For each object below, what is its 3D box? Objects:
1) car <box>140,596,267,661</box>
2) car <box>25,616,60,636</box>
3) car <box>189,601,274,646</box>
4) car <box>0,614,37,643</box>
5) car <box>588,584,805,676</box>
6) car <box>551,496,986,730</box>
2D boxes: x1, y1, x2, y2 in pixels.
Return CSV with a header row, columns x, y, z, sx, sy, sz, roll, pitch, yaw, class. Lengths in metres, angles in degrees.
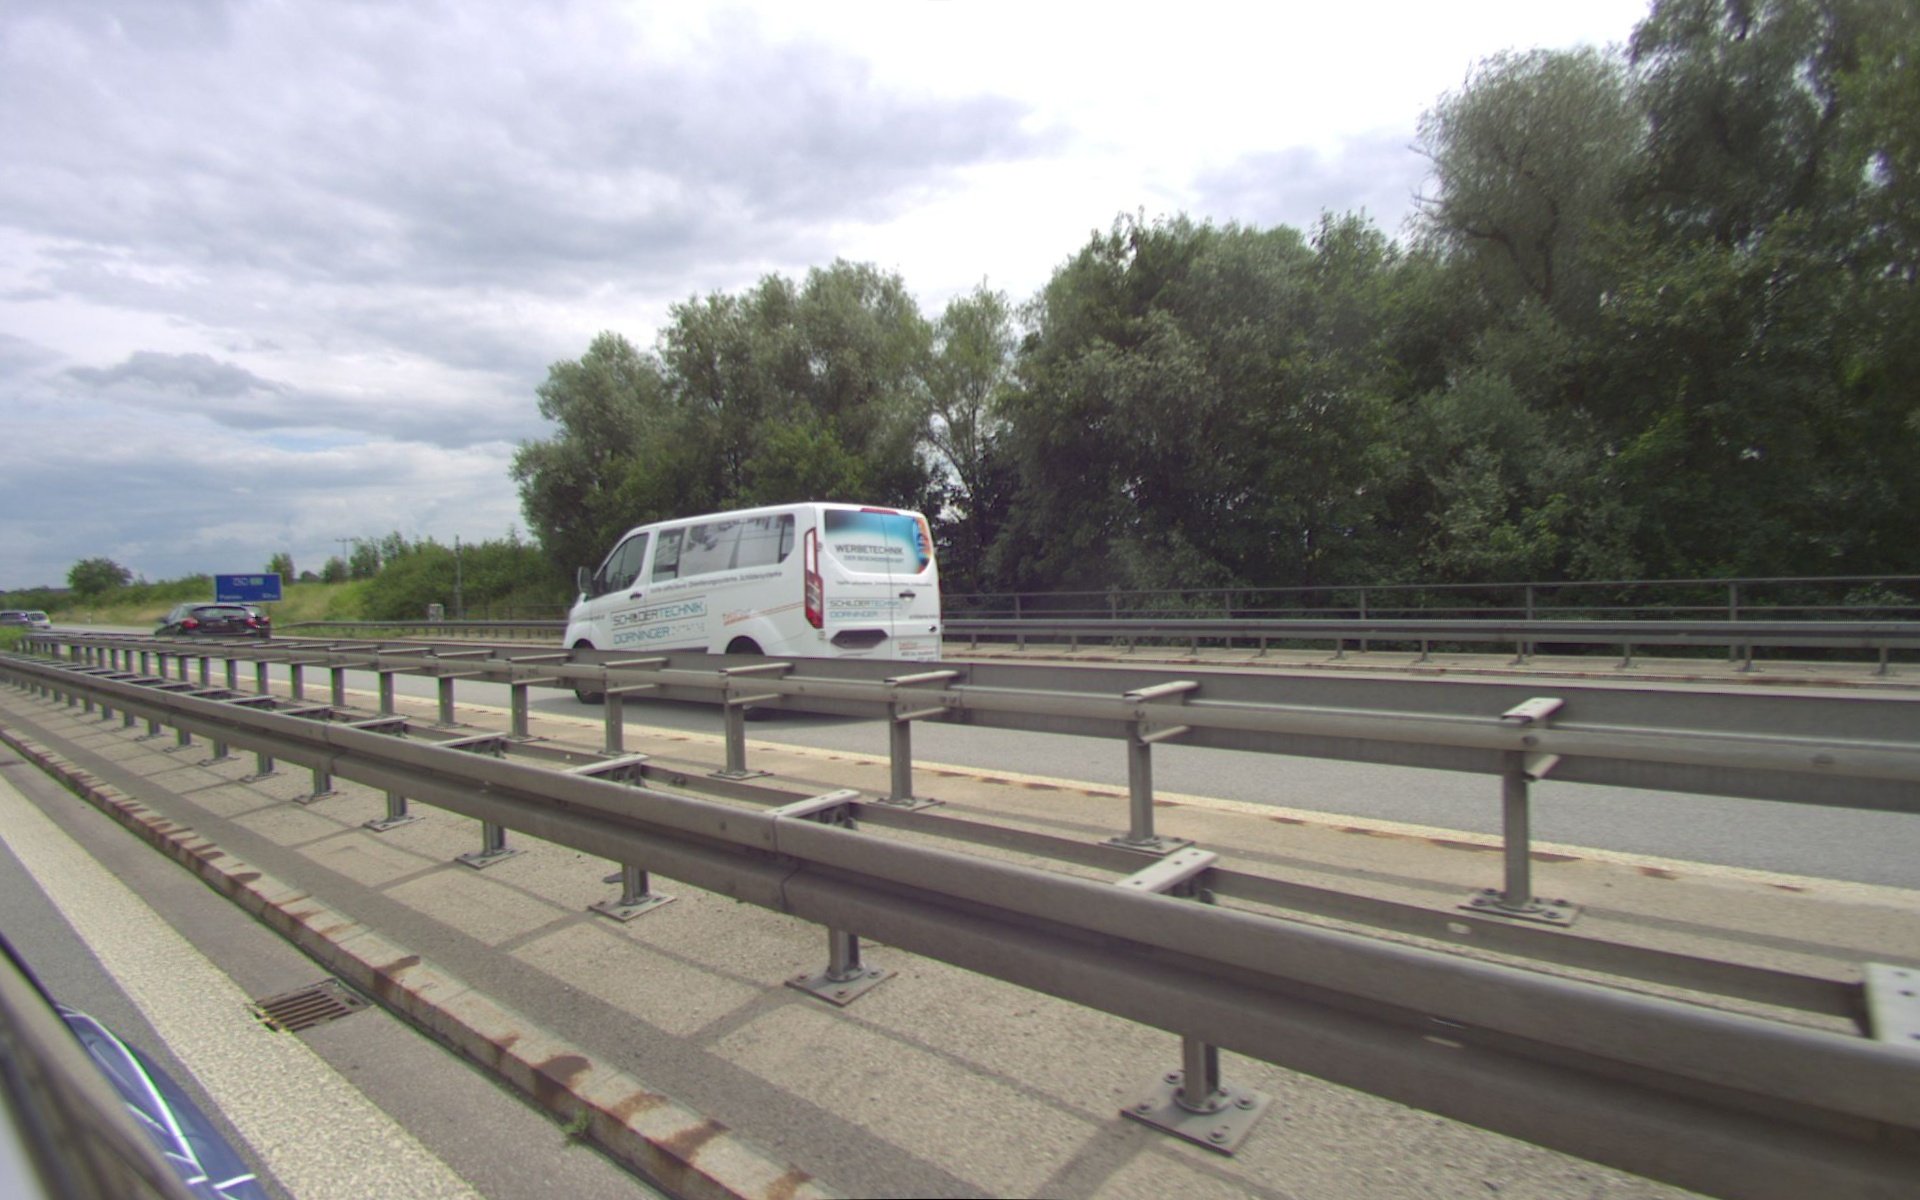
x,y,z,sx,sy,sz,roll,pitch,yaw,class
-21.043,0.767,28.072,4.944,1.624,1.826,-1,0,41,car
-75.910,2.110,83.720,4.282,1.503,1.633,-1,3,42,car
-27.361,0.862,37.953,4.330,1.571,1.711,-1,0,42,car
-56.659,1.701,60.543,4.222,1.663,1.707,-2,0,43,car
-4.723,0.498,17.883,3.934,1.449,1.826,-1,0,41,car
-2.150,0.115,10.473,4.710,1.925,1.754,-1,2,39,car
